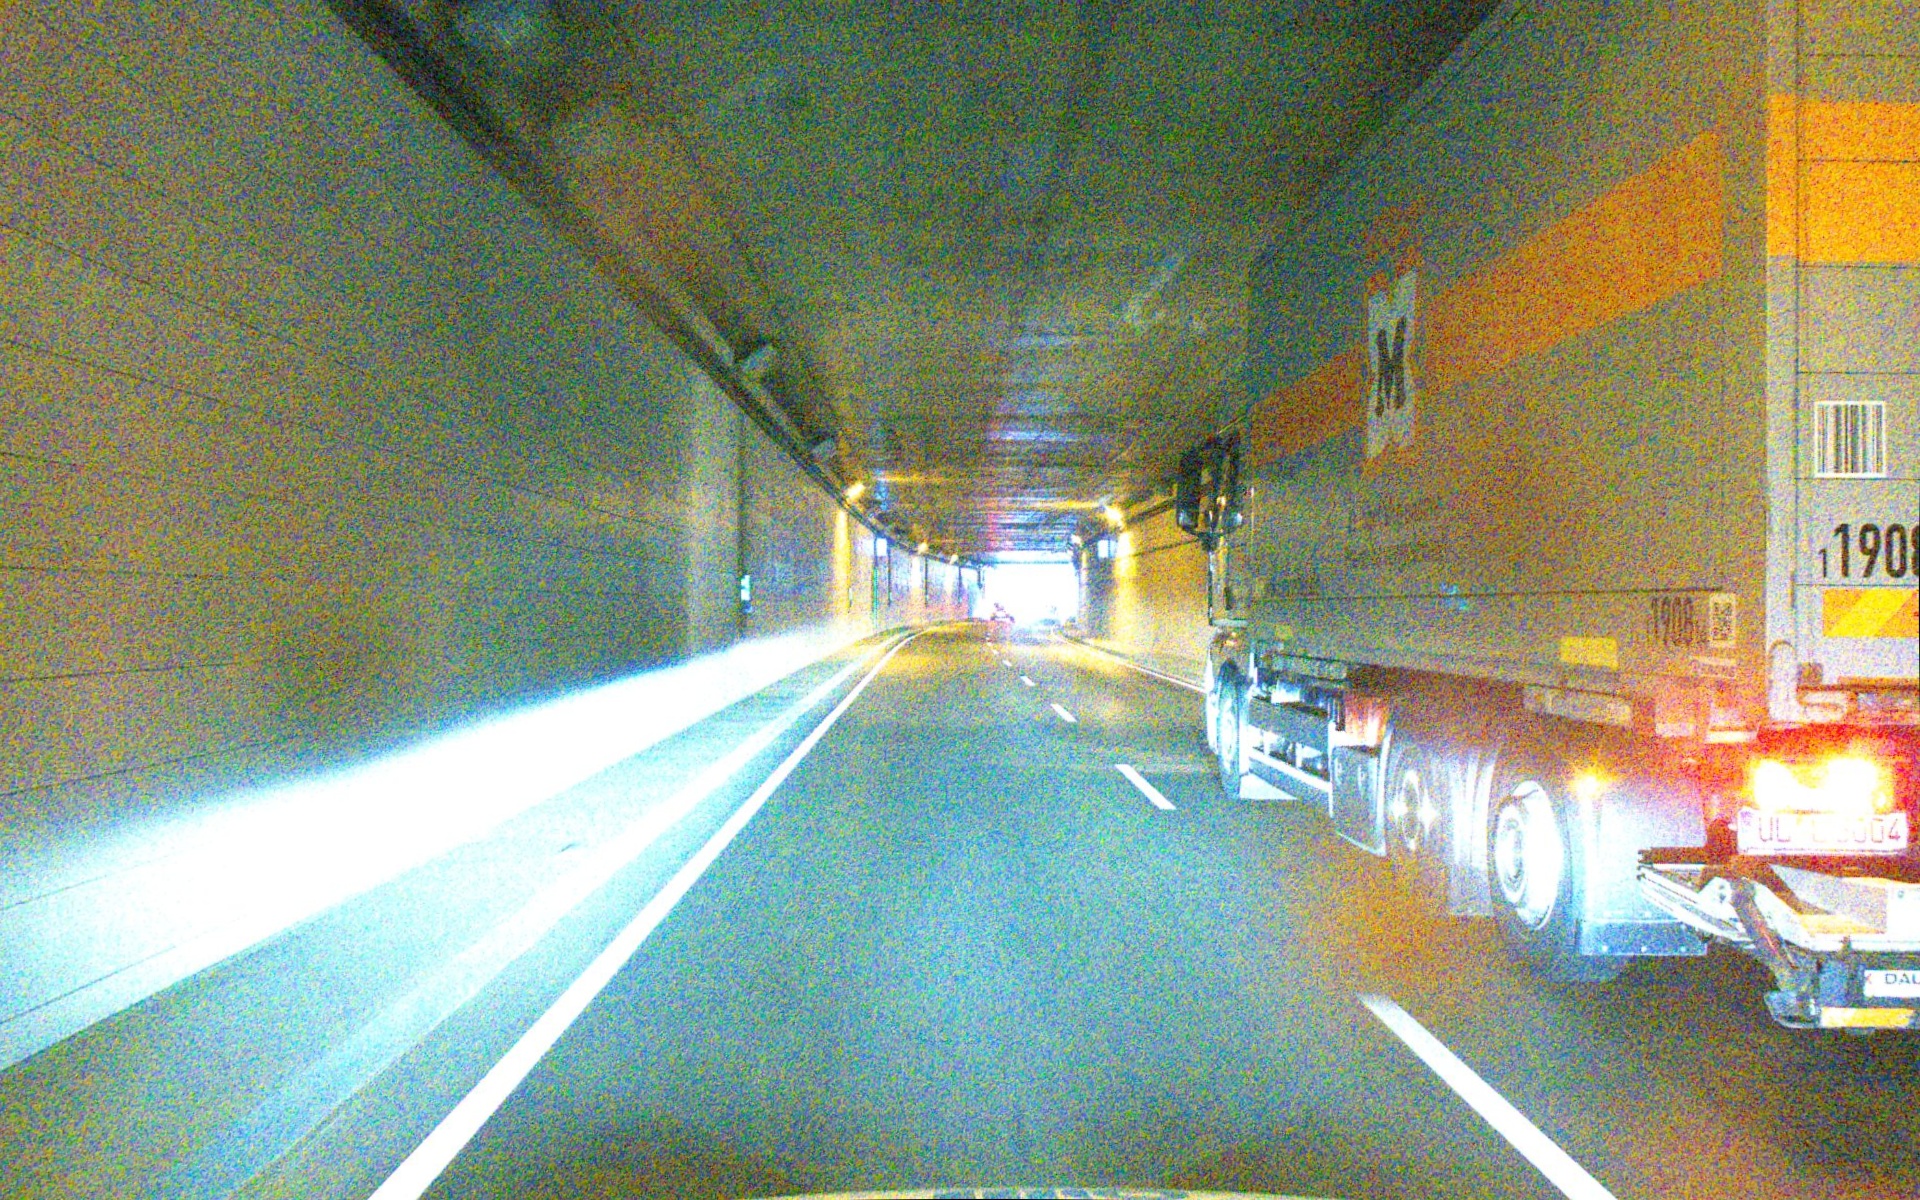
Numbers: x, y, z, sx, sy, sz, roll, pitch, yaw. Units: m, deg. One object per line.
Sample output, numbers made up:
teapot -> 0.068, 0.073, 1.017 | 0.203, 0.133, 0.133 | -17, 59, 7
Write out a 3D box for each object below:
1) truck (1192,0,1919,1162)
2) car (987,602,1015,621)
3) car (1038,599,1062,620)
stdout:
truck -> 3.511, -0.467, 9.418 | 2.830, 3.982, 9.907 | 1, 0, -1
car -> 3.231, 0.895, 128.799 | 1.802, 1.413, 4.003 | 1, -1, 6
car -> 8.060, 0.868, 147.892 | 1.829, 1.763, 4.003 | 1, -1, 8
